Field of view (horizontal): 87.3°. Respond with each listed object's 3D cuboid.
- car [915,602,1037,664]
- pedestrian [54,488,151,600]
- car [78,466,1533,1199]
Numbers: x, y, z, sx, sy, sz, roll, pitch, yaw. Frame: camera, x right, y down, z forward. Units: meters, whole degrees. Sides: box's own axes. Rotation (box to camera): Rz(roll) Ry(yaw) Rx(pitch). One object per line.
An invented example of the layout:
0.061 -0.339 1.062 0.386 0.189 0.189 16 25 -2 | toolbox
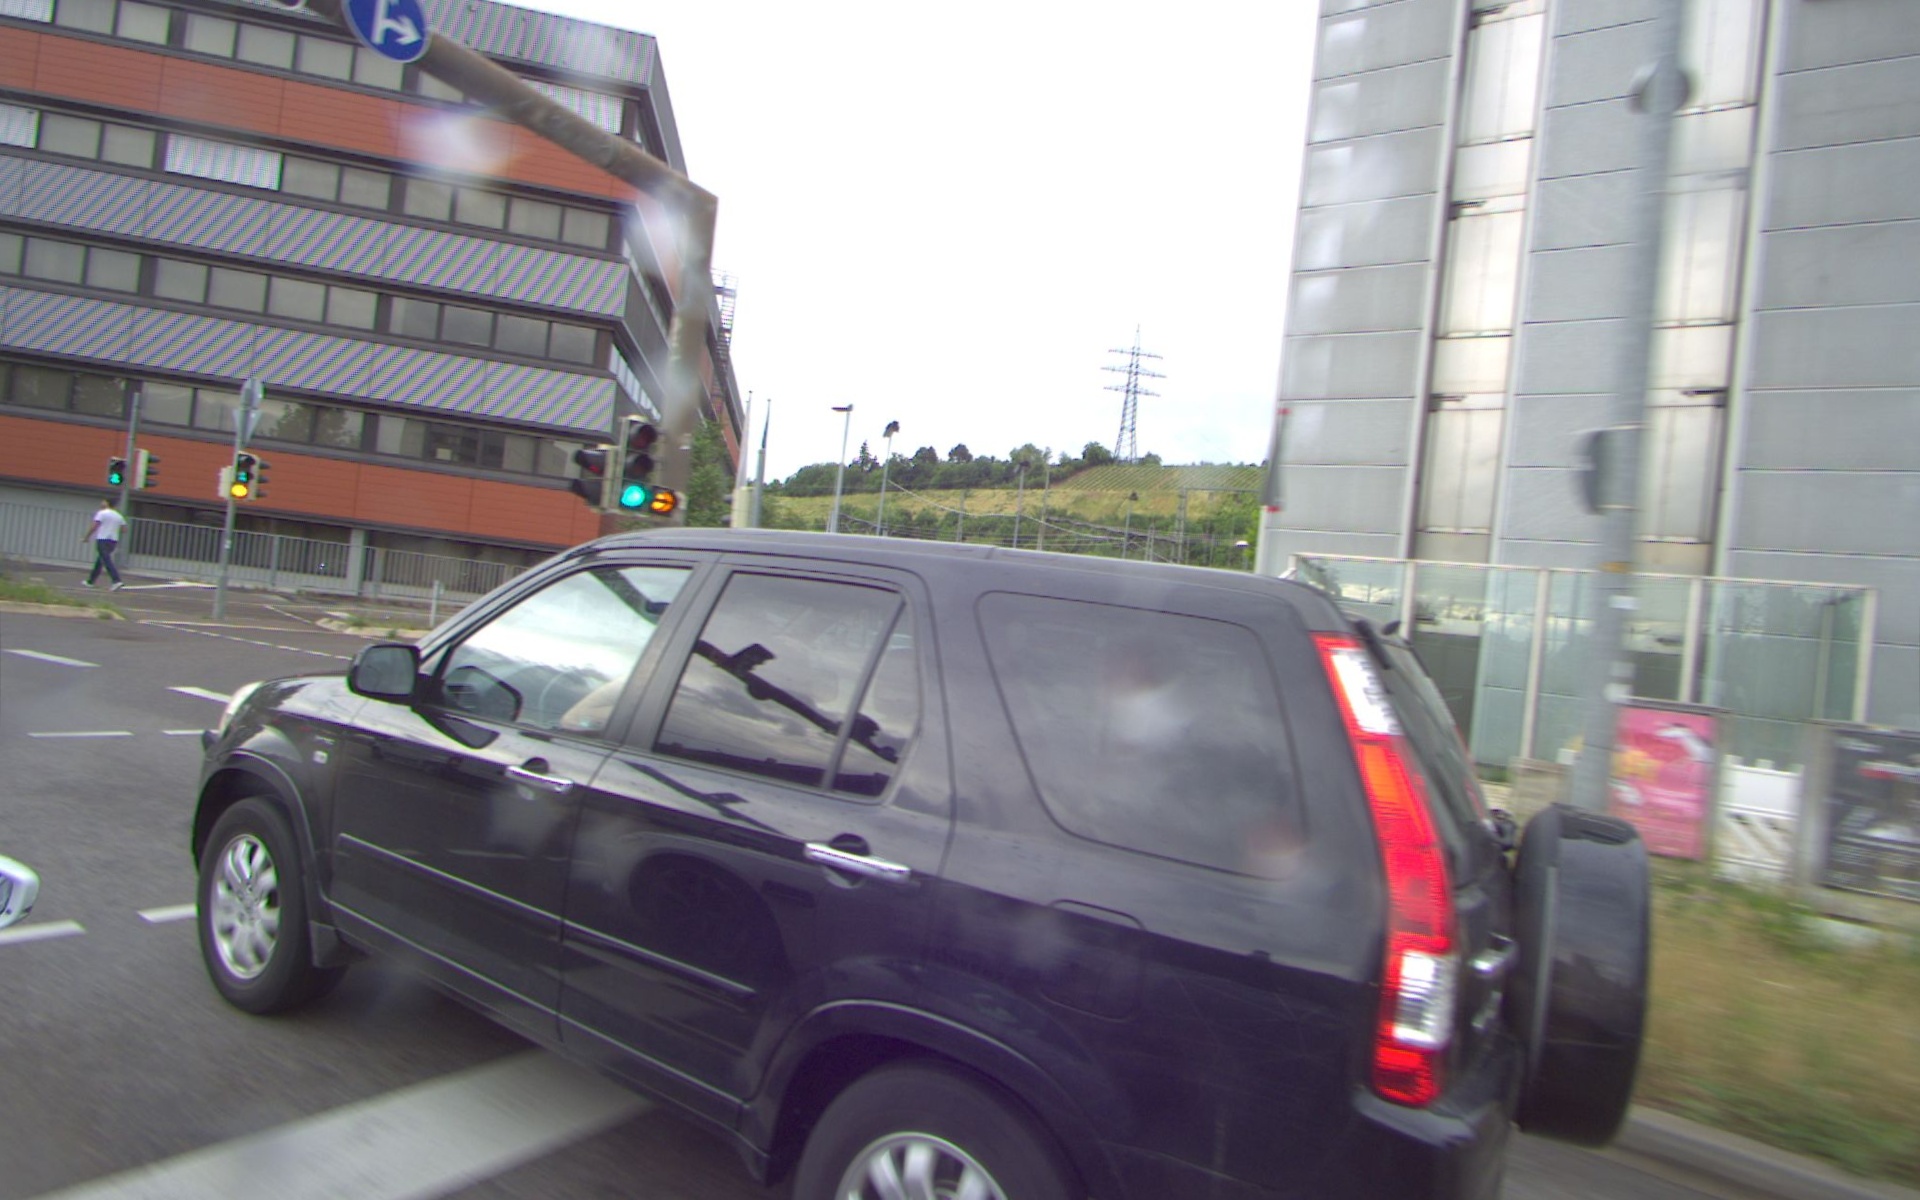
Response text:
0.724 1.400 41.403 1.975 1.937 5.058 4 -4 44 | car
-18.205 -1.184 21.367 1.203 2.152 1.144 8 1 35 | pedestrian
-0.706 0.631 3.190 4.253 1.647 1.771 6 -4 31 | car
